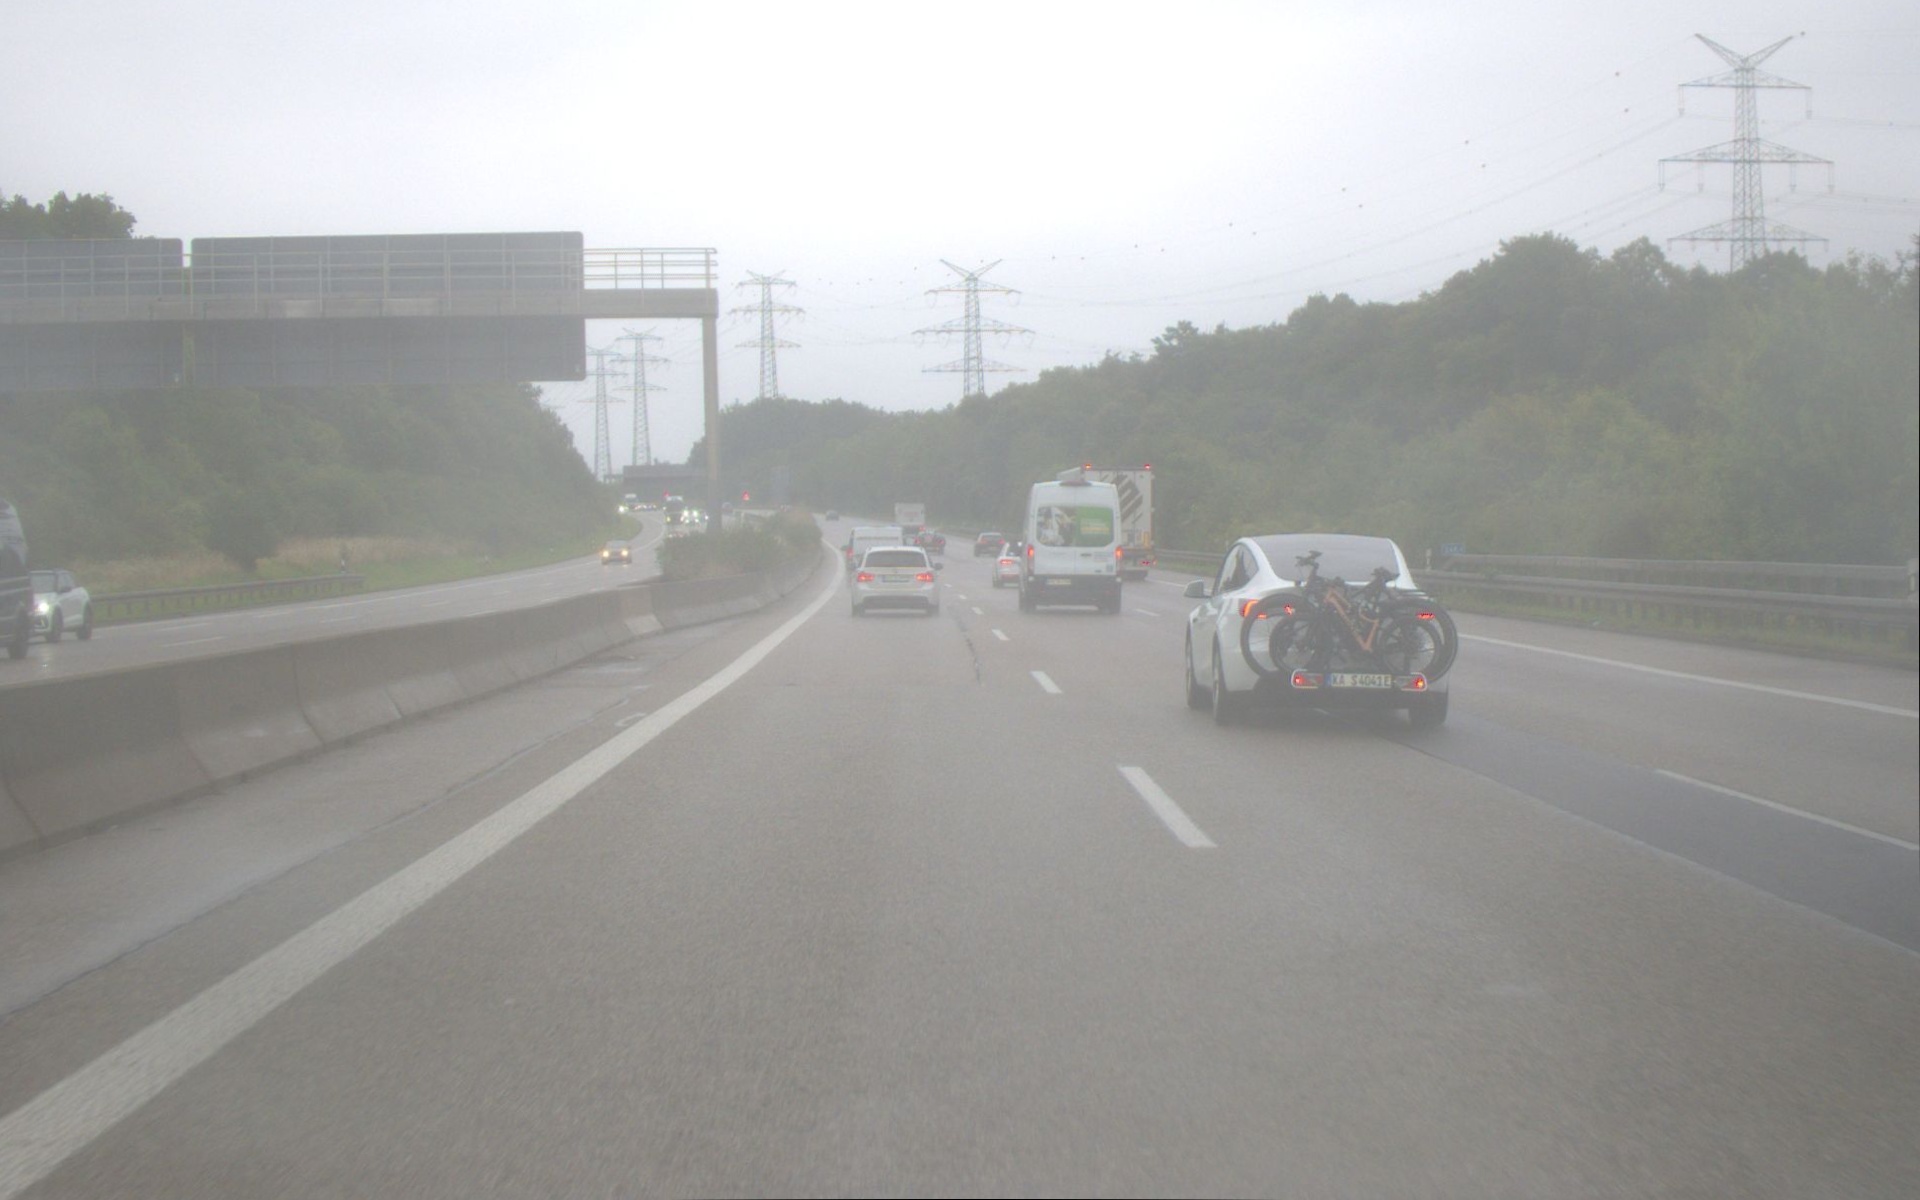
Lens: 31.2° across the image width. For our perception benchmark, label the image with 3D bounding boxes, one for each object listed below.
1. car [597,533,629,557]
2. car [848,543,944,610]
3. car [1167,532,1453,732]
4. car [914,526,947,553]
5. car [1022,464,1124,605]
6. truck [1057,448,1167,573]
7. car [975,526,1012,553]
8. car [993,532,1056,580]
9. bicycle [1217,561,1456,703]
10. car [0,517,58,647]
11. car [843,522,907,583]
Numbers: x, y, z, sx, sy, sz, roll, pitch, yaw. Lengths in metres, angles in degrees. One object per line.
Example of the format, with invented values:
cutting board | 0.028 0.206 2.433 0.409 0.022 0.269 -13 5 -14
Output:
car | -20.918 -3.315 207.501 1.862 1.437 4.001 -1 1 -5
car | -1.294 -0.499 69.796 1.866 1.284 4.000 -1 1 -1
car | 2.936 0.210 29.834 1.860 1.562 4.964 0 1 -1
car | -1.835 -3.767 213.692 1.993 1.568 4.000 -1 1 -1
car | 2.353 -1.373 72.615 1.993 2.854 4.000 -1 1 0
truck | 5.473 -3.238 126.232 3.603 4.317 13.200 0 1 1
car | 2.002 -3.599 204.848 1.993 1.481 4.000 -2 1 -1
car | 1.962 -1.374 106.143 1.857 1.417 4.000 0 2 0
bicycle | 2.930 0.245 26.896 1.753 1.087 0.914 0 0 -1
car | -17.006 -0.295 57.893 1.993 2.160 6.417 -1 1 -1
car | -2.535 -1.430 103.449 1.846 1.766 4.000 1 1 -1
